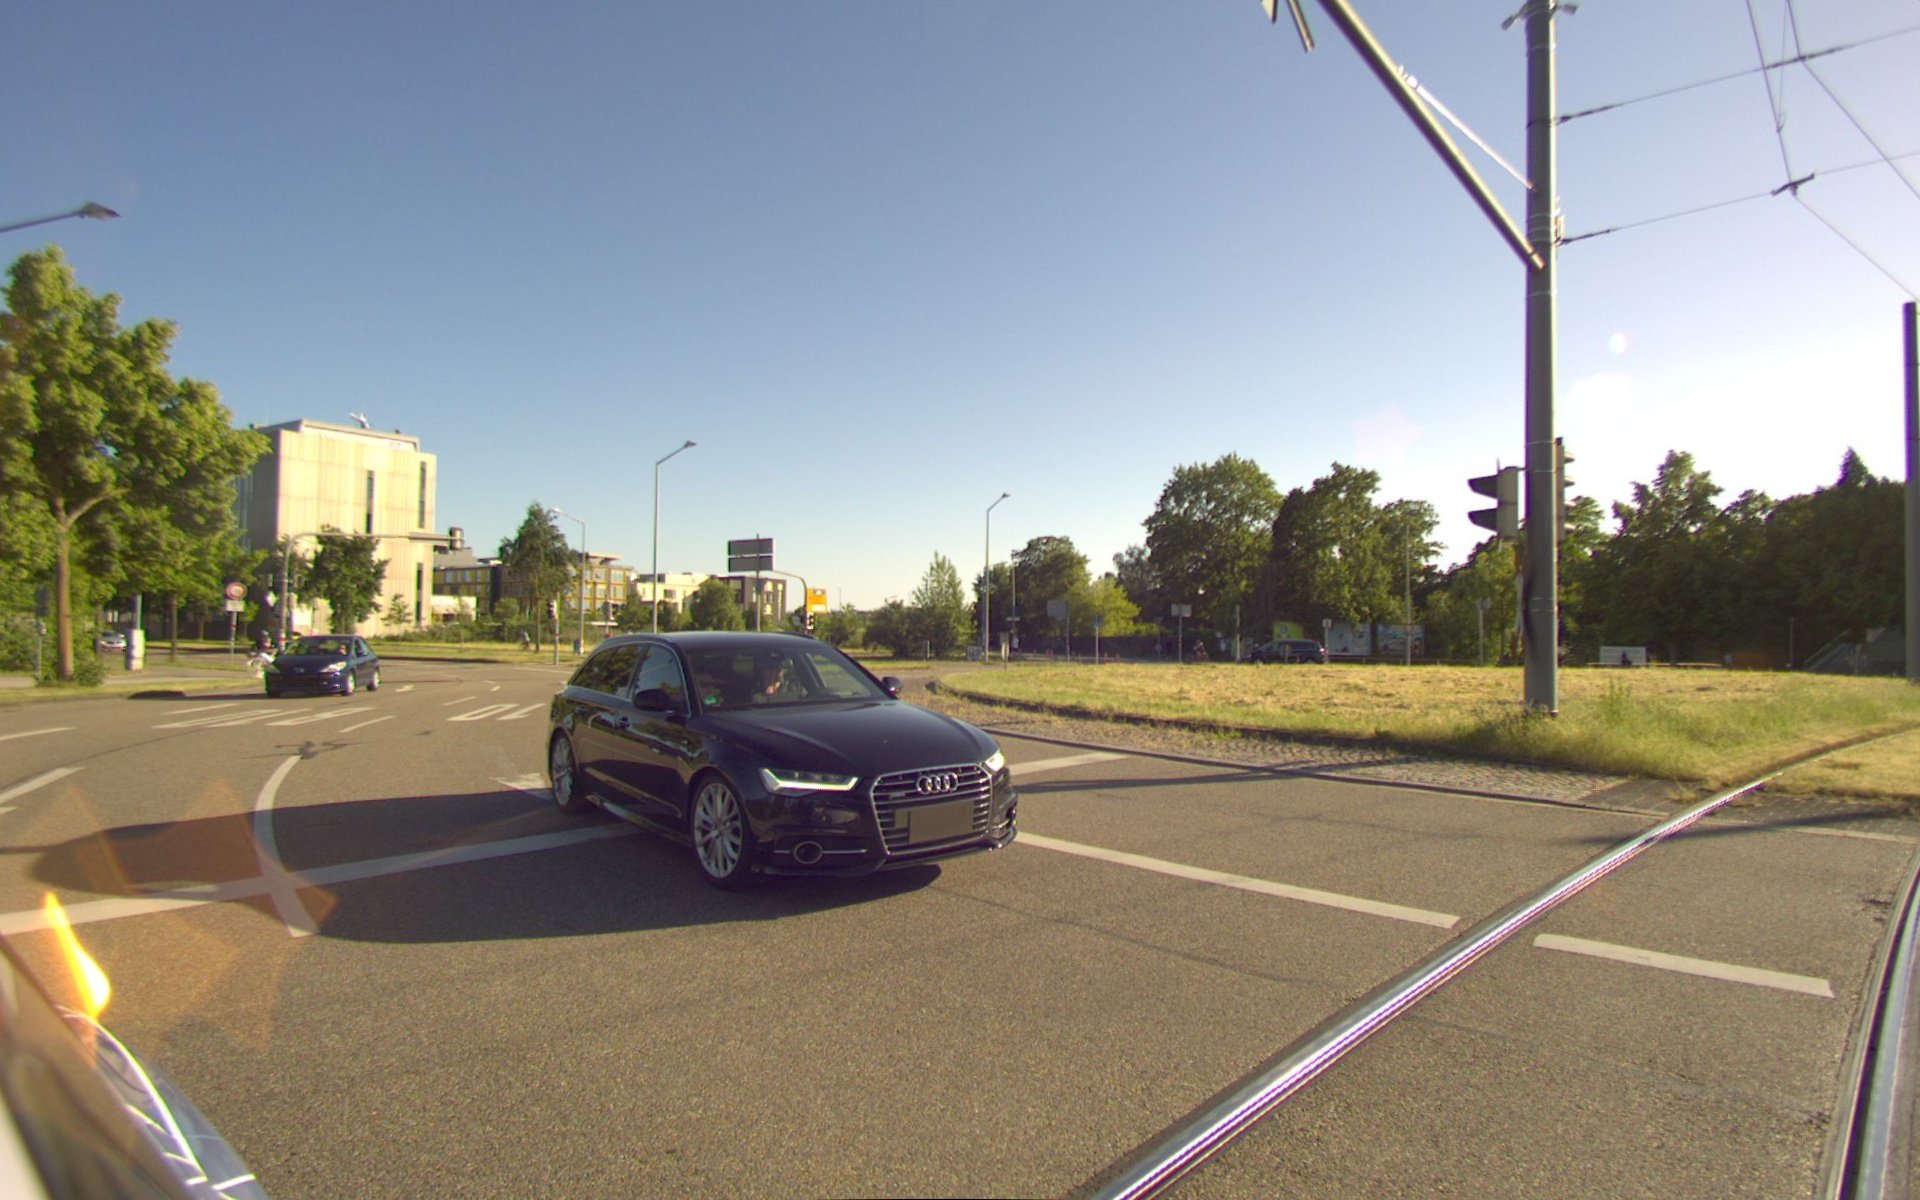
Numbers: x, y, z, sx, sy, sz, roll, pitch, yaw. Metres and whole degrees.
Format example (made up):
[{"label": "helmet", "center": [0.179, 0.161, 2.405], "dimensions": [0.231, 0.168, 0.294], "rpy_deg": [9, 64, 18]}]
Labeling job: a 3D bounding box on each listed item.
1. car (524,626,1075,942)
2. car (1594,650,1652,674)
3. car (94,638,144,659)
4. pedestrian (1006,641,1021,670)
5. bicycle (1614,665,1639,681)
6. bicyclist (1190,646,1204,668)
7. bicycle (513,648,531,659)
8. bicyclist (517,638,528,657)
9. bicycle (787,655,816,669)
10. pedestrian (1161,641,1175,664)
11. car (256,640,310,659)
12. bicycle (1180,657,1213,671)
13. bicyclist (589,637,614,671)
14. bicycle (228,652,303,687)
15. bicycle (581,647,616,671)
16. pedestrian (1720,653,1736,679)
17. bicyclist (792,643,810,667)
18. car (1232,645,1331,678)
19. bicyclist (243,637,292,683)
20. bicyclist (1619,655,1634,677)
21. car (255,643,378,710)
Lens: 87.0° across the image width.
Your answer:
[{"label": "car", "center": [-1.553, 0.973, 7.234], "dimensions": [1.769, 1.454, 5.028], "rpy_deg": [2, -3, -36]}, {"label": "car", "center": [52.712, 4.887, 80.478], "dimensions": [3.737, 1.819, 1.816], "rpy_deg": [-2, -3, 37]}, {"label": "car", "center": [-58.699, 3.384, 70.639], "dimensions": [4.533, 1.390, 1.911], "rpy_deg": [-1, -3, 40]}, {"label": "pedestrian", "center": [3.742, 3.856, 70.619], "dimensions": [0.930, 2.021, 0.589], "rpy_deg": [0, -3, -5]}, {"label": "bicycle", "center": [44.691, 4.912, 67.872], "dimensions": [1.838, 1.019, 0.588], "rpy_deg": [2, -2, -28]}, {"label": "bicyclist", "center": [17.186, 4.159, 73.410], "dimensions": [0.822, 1.592, 0.663], "rpy_deg": [1, -3, -6]}, {"label": "bicycle", "center": [-36.445, 4.445, 84.201], "dimensions": [1.886, 0.859, 0.485], "rpy_deg": [-2, -3, 38]}, {"label": "bicyclist", "center": [-36.406, 3.939, 84.207], "dimensions": [0.850, 1.576, 0.427], "rpy_deg": [-2, -3, 38]}, {"label": "bicycle", "center": [-10.007, 3.943, 63.992], "dimensions": [0.616, 0.859, 1.864], "rpy_deg": [-2, -3, 39]}, {"label": "pedestrian", "center": [19.037, 4.798, 92.590], "dimensions": [0.886, 2.029, 0.821], "rpy_deg": [2, -2, -14]}, {"label": "car", "center": [-55.985, 4.055, 83.699], "dimensions": [4.308, 1.553, 1.988], "rpy_deg": [-1, -3, 30]}, {"label": "bicycle", "center": [17.163, 4.662, 73.411], "dimensions": [2.228, 0.995, 0.663], "rpy_deg": [1, -3, -5]}, {"label": "bicyclist", "center": [-18.183, 2.715, 51.340], "dimensions": [0.700, 1.676, 0.935], "rpy_deg": [0, -2, 24]}, {"label": "bicycle", "center": [-24.846, 2.474, 36.258], "dimensions": [0.867, 1.164, 2.209], "rpy_deg": [1, -3, 10]}, {"label": "bicycle", "center": [-18.256, 2.981, 51.146], "dimensions": [0.700, 1.137, 1.642], "rpy_deg": [0, -2, 24]}, {"label": "pedestrian", "center": [48.577, 4.184, 64.013], "dimensions": [0.759, 1.642, 0.875], "rpy_deg": [-2, -3, 34]}, {"label": "bicyclist", "center": [-10.036, 3.474, 63.971], "dimensions": [0.617, 1.529, 0.913], "rpy_deg": [-2, -4, 39]}, {"label": "car", "center": [18.246, 3.467, 57.741], "dimensions": [4.952, 1.799, 2.457], "rpy_deg": [0, -2, 6]}, {"label": "bicyclist", "center": [-24.839, 2.143, 36.298], "dimensions": [0.867, 1.574, 1.084], "rpy_deg": [1, -3, 10]}, {"label": "bicyclist", "center": [44.707, 4.413, 67.881], "dimensions": [0.743, 1.479, 0.588], "rpy_deg": [2, -2, -28]}, {"label": "car", "center": [-15.755, 1.826, 24.989], "dimensions": [1.728, 1.465, 4.012], "rpy_deg": [0, -3, -20]}]
